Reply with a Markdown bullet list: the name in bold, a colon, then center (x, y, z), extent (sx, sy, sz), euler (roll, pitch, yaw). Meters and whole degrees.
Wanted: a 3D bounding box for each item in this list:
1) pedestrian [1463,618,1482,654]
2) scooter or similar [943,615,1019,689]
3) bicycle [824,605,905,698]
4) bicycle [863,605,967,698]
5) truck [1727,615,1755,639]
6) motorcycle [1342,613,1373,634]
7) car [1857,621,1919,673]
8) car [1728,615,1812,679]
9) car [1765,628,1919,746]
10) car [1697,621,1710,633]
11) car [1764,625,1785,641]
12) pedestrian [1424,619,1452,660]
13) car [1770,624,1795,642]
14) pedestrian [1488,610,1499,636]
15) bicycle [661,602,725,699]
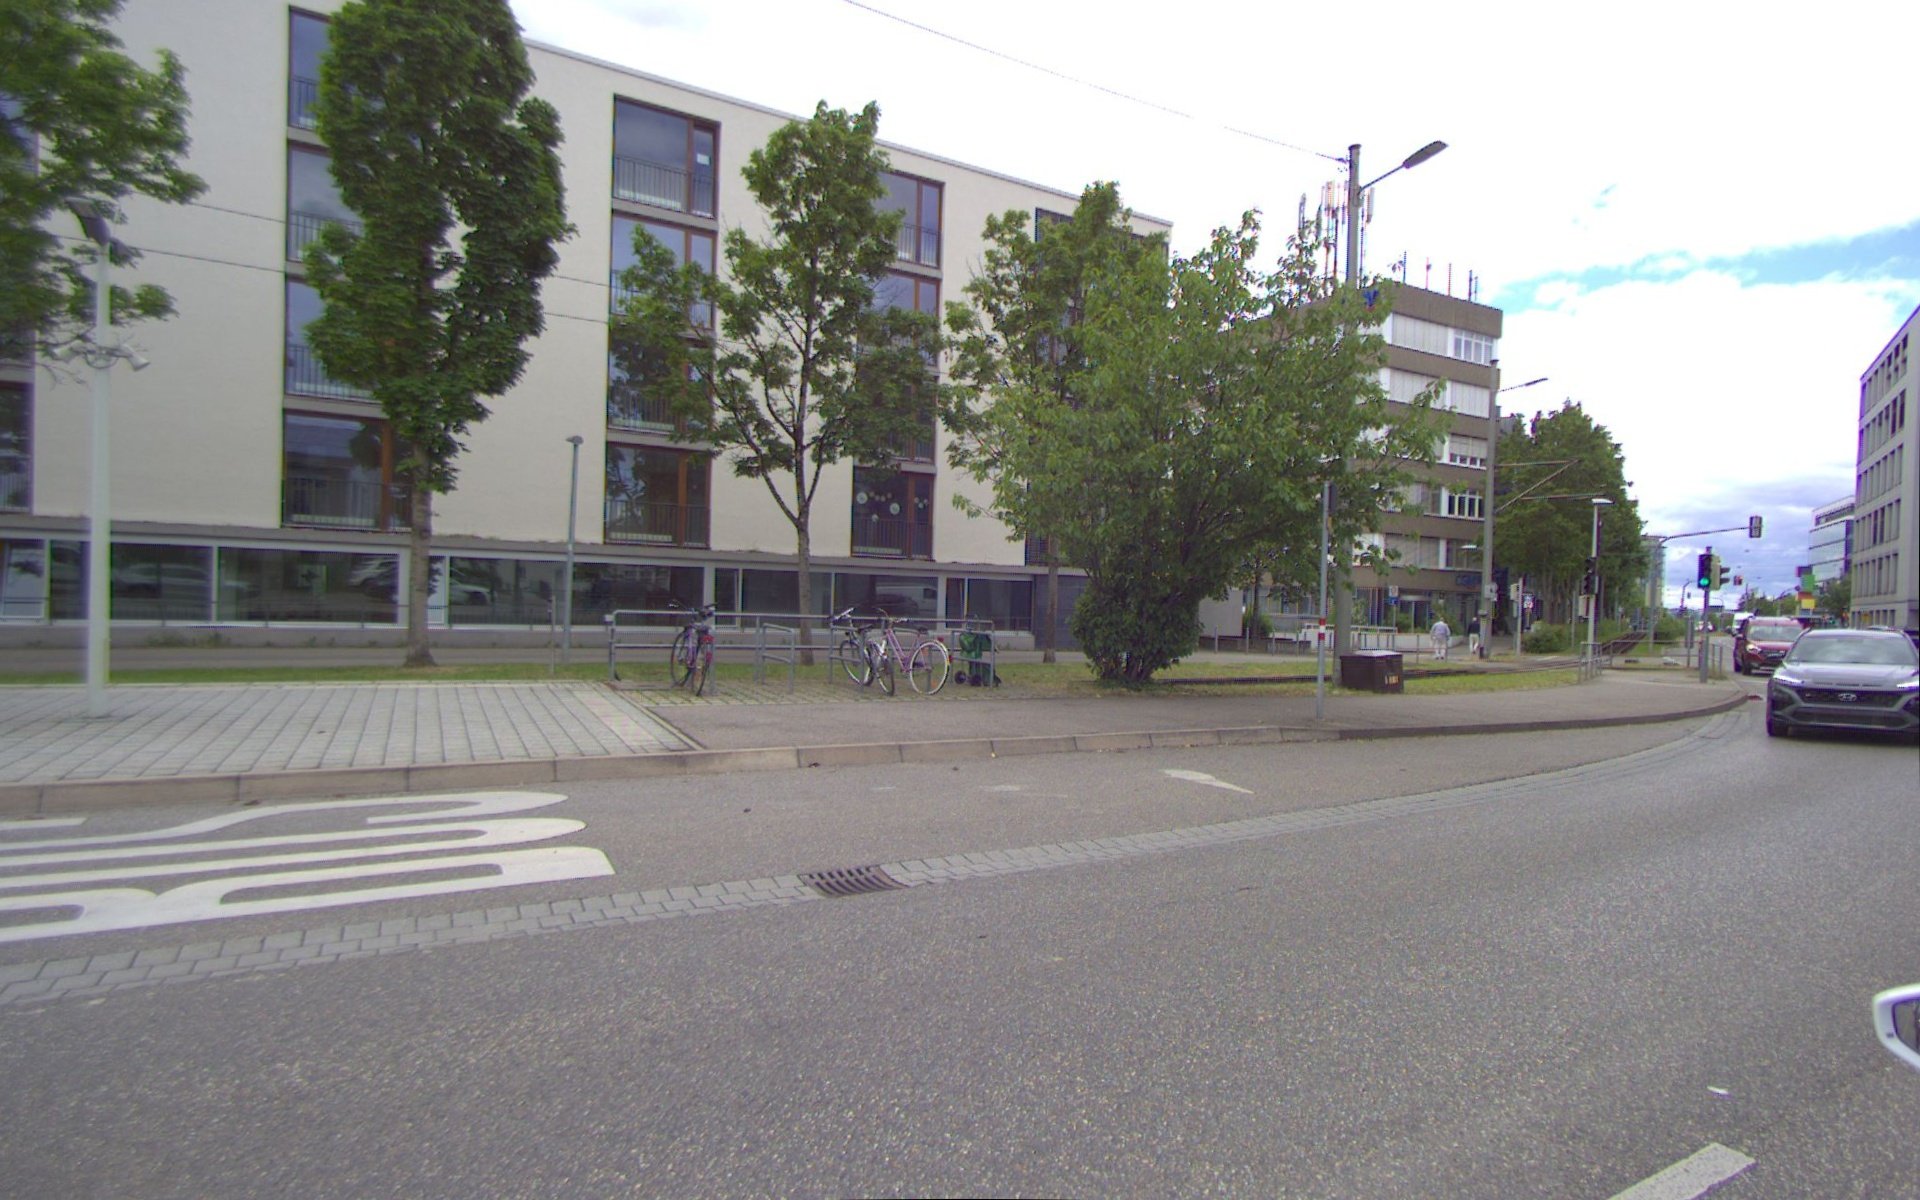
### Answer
- **pedestrian**: center (24.670, 1.722, 48.367), extent (0.679, 1.728, 0.680), euler (0, -1, 38)
- **scooter or similar**: center (0.306, 0.747, 14.729), extent (0.766, 1.023, 0.781), euler (2, 0, -37)
- **bicycle**: center (-1.287, 0.650, 13.231), extent (0.403, 1.060, 1.741), euler (2, 2, -27)
- **bicycle**: center (-0.641, 0.669, 13.618), extent (0.405, 1.103, 1.689), euler (1, 2, -41)
- **truck**: center (92.608, 3.190, 119.171), extent (2.136, 2.650, 5.778), euler (2, 0, 34)
- **motorcycle**: center (24.510, 1.436, 61.963), extent (0.561, 1.215, 1.870), euler (1, 0, -29)
- **car**: center (32.236, 1.583, 34.607), extent (1.738, 1.630, 4.169), euler (2, 0, 39)
- **car**: center (25.159, 1.427, 31.320), extent (1.658, 1.832, 4.339), euler (0, -1, 34)
- **car**: center (13.172, 1.180, 14.803), extent (1.749, 1.498, 3.977), euler (0, -2, 43)
- **car**: center (125.675, 4.570, 169.768), extent (1.645, 1.907, 3.985), euler (2, 0, 36)
- **car**: center (91.088, 3.655, 112.362), extent (1.738, 1.630, 4.170), euler (2, 0, 38)
- **pedestrian**: center (18.334, 1.517, 38.522), extent (0.836, 1.547, 0.993), euler (0, -1, 34)
- **car**: center (80.056, 3.218, 97.831), extent (1.738, 1.630, 4.170), euler (2, 0, 38)
- **pedestrian**: center (42.041, 1.793, 79.149), extent (0.672, 2.040, 0.569), euler (1, 0, 35)
- **bicycle**: center (-3.322, 0.589, 12.421), extent (0.391, 1.039, 1.680), euler (2, 2, -27)
